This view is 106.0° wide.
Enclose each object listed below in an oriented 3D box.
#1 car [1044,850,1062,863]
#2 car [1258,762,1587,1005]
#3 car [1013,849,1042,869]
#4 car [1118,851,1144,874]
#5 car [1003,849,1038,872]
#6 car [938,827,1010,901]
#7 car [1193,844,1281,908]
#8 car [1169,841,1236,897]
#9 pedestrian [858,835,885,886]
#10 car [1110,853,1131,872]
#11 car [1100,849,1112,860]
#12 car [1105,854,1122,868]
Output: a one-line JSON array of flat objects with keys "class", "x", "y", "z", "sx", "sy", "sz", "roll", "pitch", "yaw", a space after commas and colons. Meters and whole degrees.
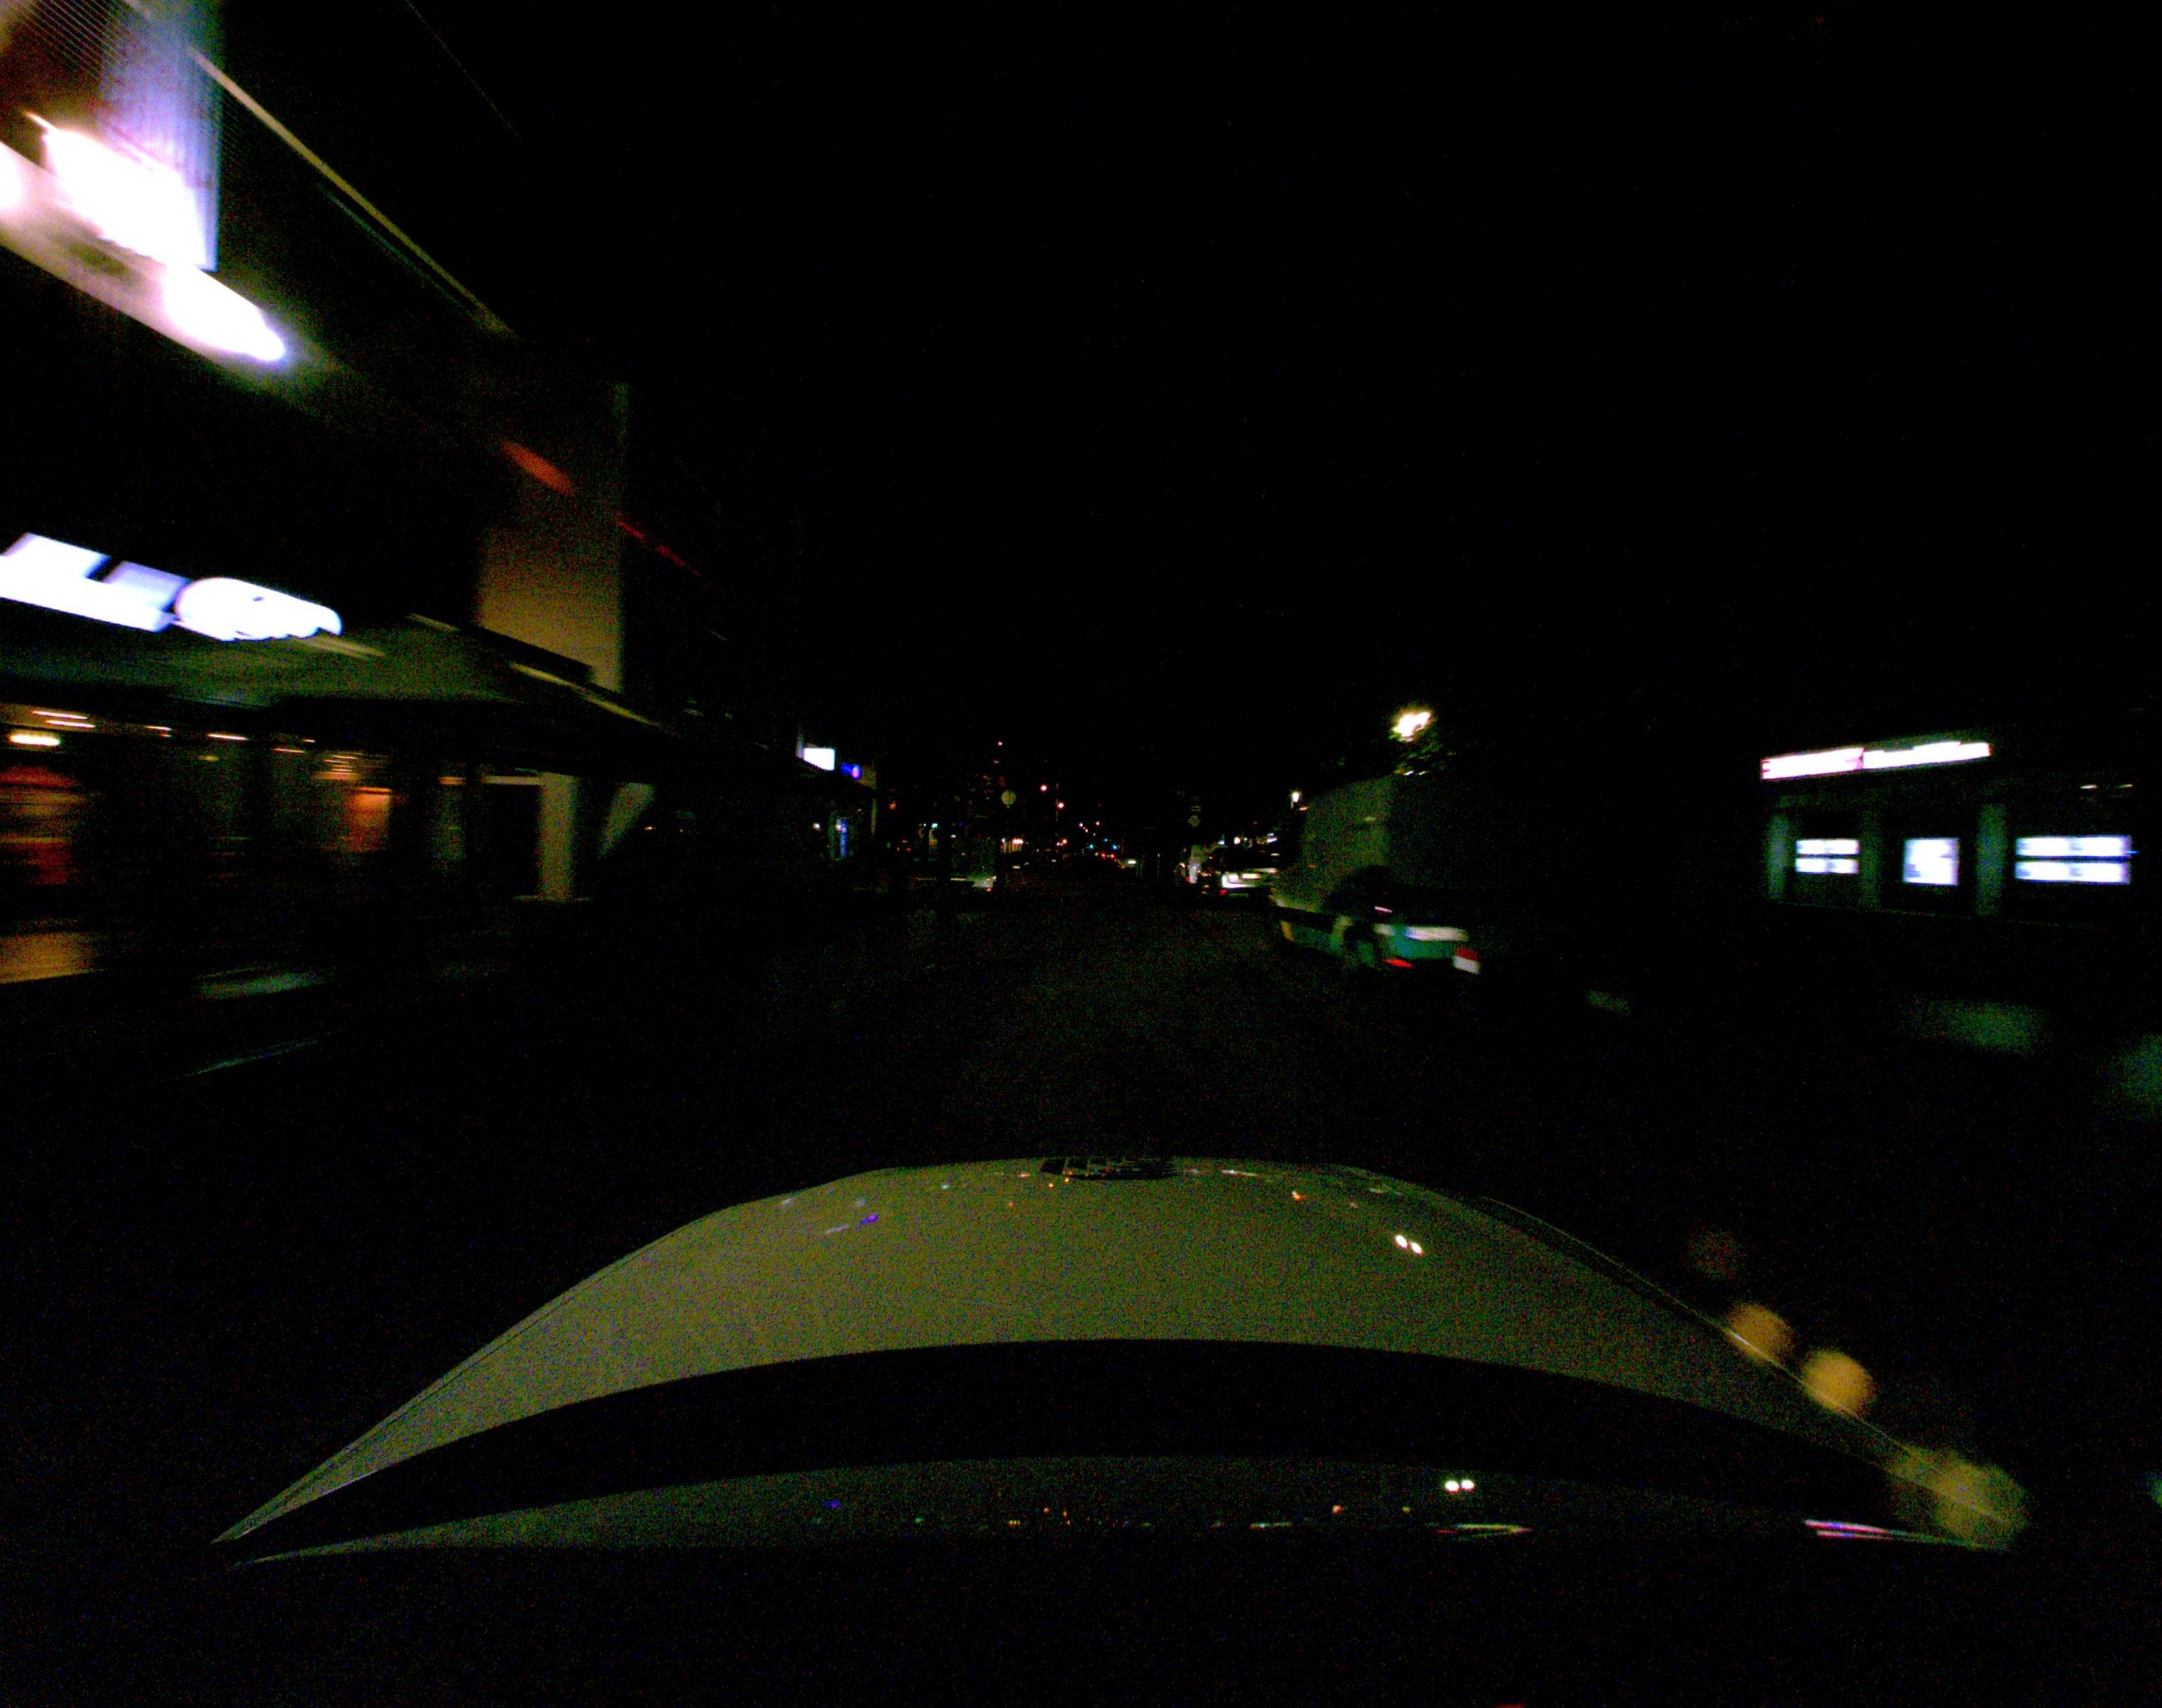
[{"class": "car", "x": -3.258, "y": 0.295, "z": 95.525, "sx": 1.734, "sy": 1.413, "sz": 4.498, "roll": 2, "pitch": 1, "yaw": 2}, {"class": "car", "x": 3.869, "y": 0.267, "z": 10.476, "sx": 2.127, "sy": 2.326, "sz": 5.152, "roll": 1, "pitch": 0, "yaw": 1}, {"class": "car", "x": -4.114, "y": 0.339, "z": 63.157, "sx": 1.715, "sy": 1.428, "sz": 3.978, "roll": 3, "pitch": 0, "yaw": 2}, {"class": "car", "x": 3.455, "y": 0.556, "z": 56.740, "sx": 1.763, "sy": 1.537, "sz": 4.219, "roll": -1, "pitch": 0, "yaw": 2}, {"class": "car", "x": -4.207, "y": 0.447, "z": 57.275, "sx": 1.800, "sy": 1.425, "sz": 4.923, "roll": 3, "pitch": 0, "yaw": 2}, {"class": "car", "x": -3.391, "y": 0.285, "z": 26.654, "sx": 1.849, "sy": 2.087, "sz": 5.084, "roll": 3, "pitch": 0, "yaw": -4}, {"class": "car", "x": 4.338, "y": 0.556, "z": 23.306, "sx": 1.679, "sy": 1.659, "sz": 4.296, "roll": 1, "pitch": 0, "yaw": 0}, {"class": "car", "x": 4.270, "y": 0.475, "z": 29.291, "sx": 1.783, "sy": 1.822, "sz": 4.580, "roll": 1, "pitch": 0, "yaw": 1}, {"class": "pedestrian", "x": -7.203, "y": 0.202, "z": 28.059, "sx": 0.666, "sy": 1.719, "sz": 0.909, "roll": 1, "pitch": 0, "yaw": 2}, {"class": "car", "x": 3.384, "y": 0.699, "z": 70.094, "sx": 1.683, "sy": 1.536, "sz": 4.018, "roll": 2, "pitch": 0, "yaw": 2}, {"class": "car", "x": 4.014, "y": 0.057, "z": 130.494, "sx": 1.986, "sy": 1.643, "sz": 4.001, "roll": 0, "pitch": 0, "yaw": 1}, {"class": "car", "x": 3.597, "y": 0.733, "z": 89.177, "sx": 1.757, "sy": 1.414, "sz": 4.811, "roll": 1, "pitch": 0, "yaw": 2}]
